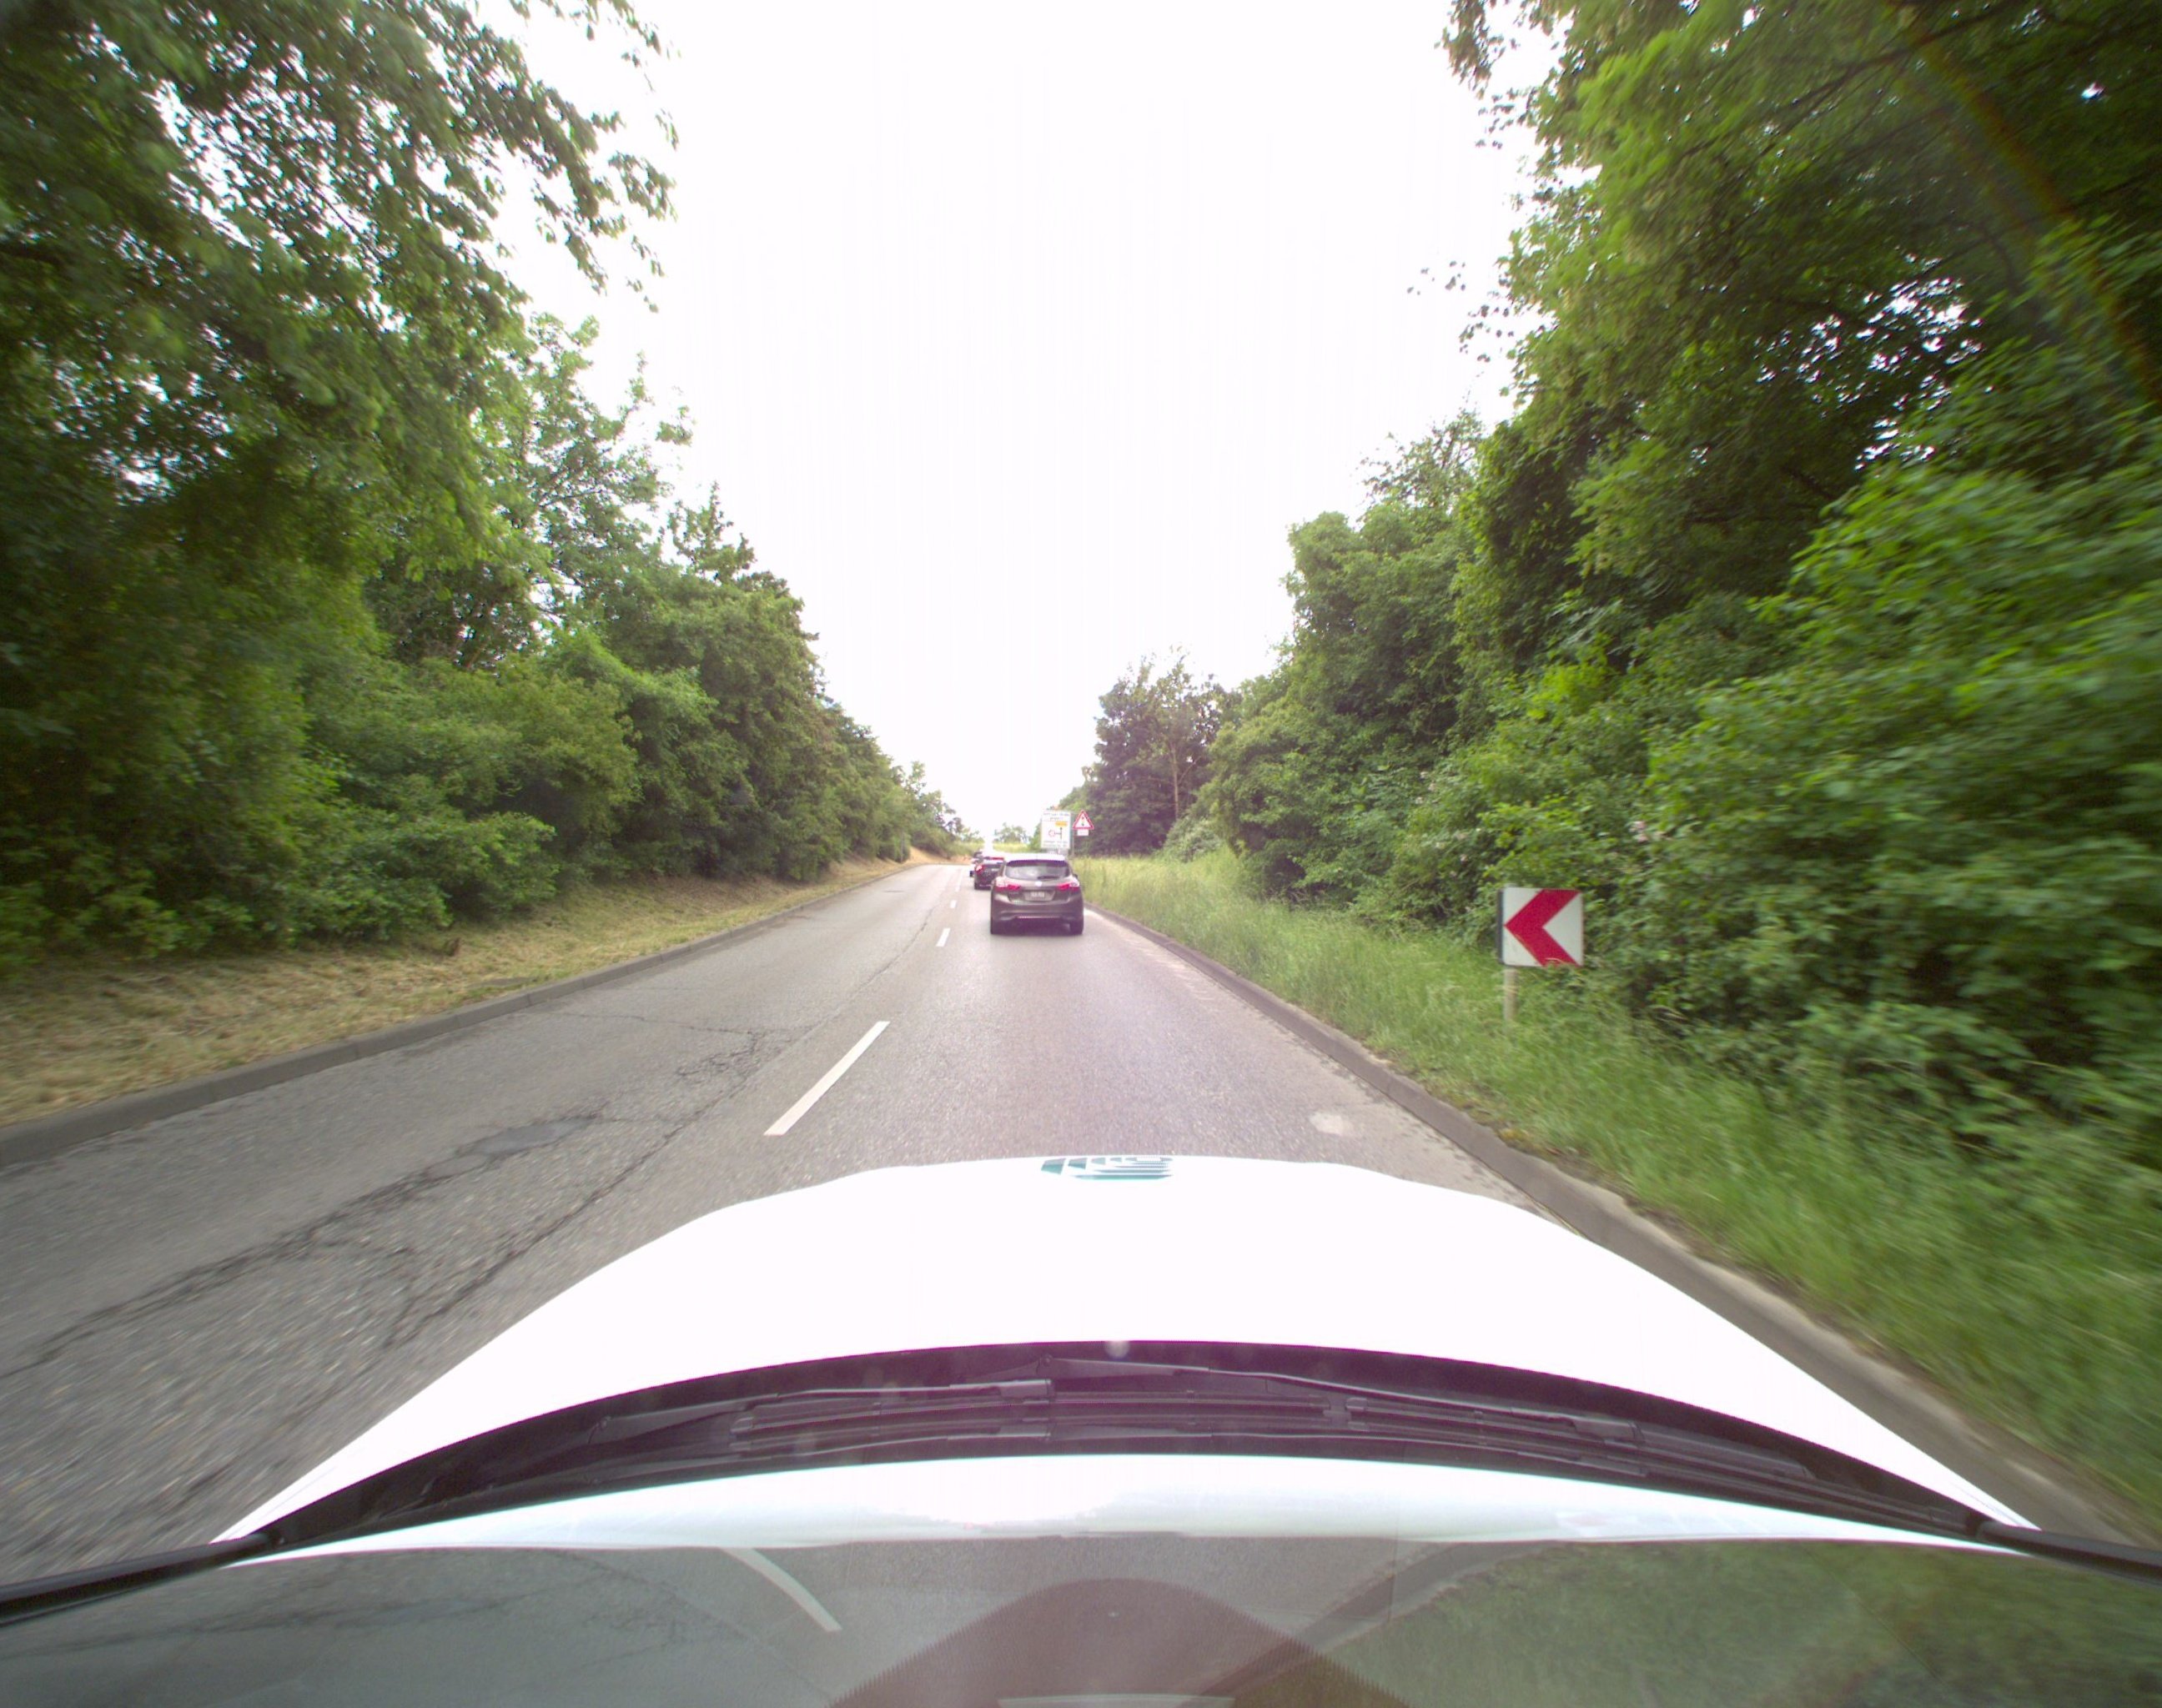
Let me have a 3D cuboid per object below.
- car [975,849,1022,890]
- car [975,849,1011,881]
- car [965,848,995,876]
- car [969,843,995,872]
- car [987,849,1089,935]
[{"bbox_3d":[-3.411,0.577,33.304,1.829,1.556,3.615,0,0,-7],"label":"car"},{"bbox_3d":[-4.451,0.528,41.067,1.734,1.556,3.535,0,0,-7],"label":"car"},{"bbox_3d":[-5.982,0.438,48.236,1.734,1.556,3.535,0,0,-7],"label":"car"},{"bbox_3d":[-6.753,0.215,55.486,1.734,1.935,3.534,0,0,-7],"label":"car"},{"bbox_3d":[-0.972,0.682,16.531,1.828,1.556,3.491,0,0,-7],"label":"car"}]
